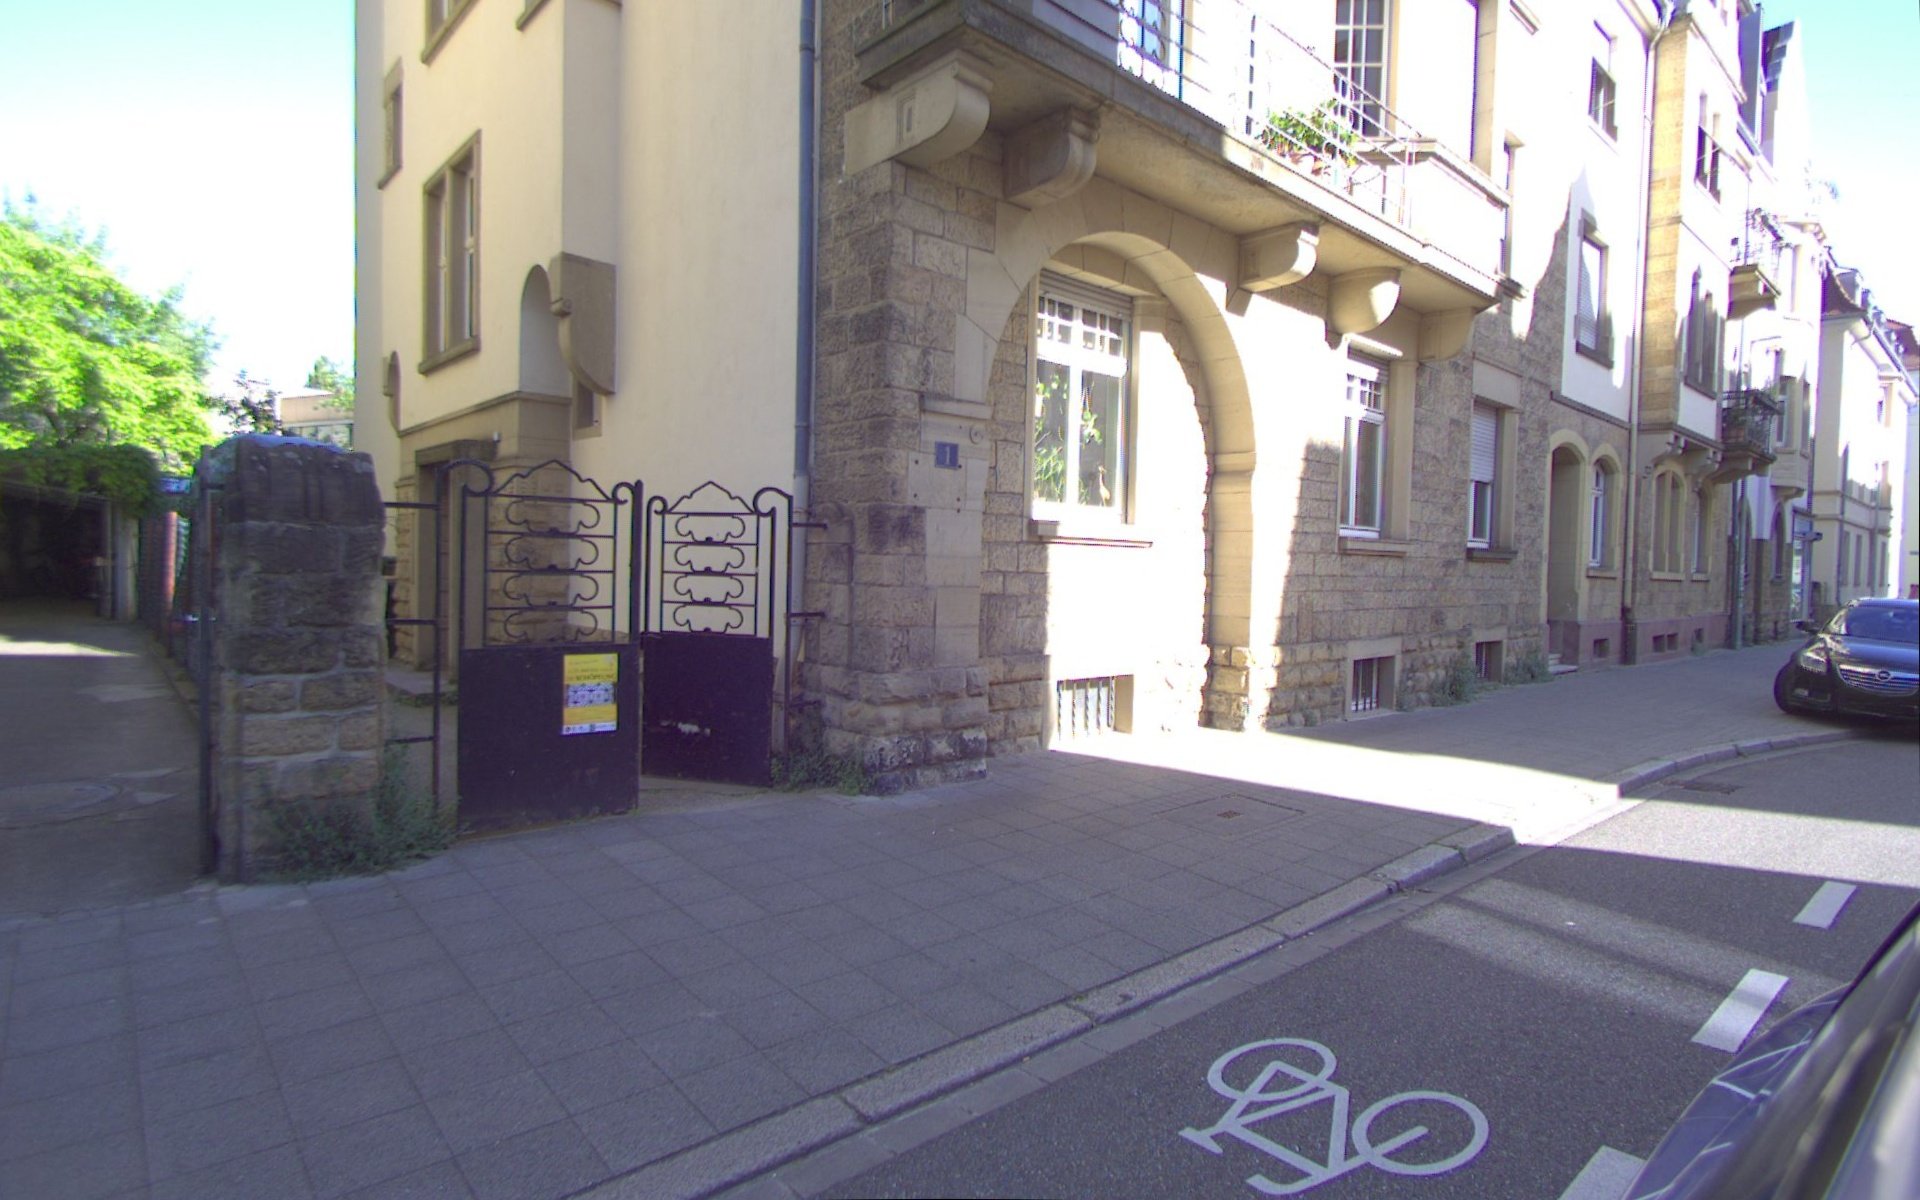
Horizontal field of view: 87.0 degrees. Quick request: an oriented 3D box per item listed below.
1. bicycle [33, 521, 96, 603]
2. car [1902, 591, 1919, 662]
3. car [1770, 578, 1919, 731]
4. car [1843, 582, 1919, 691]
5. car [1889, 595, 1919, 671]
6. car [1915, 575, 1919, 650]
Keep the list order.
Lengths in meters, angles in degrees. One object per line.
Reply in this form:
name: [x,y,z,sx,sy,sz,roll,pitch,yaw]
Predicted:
bicycle: [-18.304,-0.811,20.725,0.903,1.530,2.672,0,4,-41]
car: [22.169,0.582,22.194,4.247,1.440,1.823,-1,4,-42]
car: [11.484,0.570,12.170,4.043,1.526,2.023,-1,5,-42]
car: [15.529,0.566,15.868,4.247,1.527,2.004,0,3,-42]
car: [18.792,0.619,18.973,3.667,1.295,1.659,-1,4,-42]
car: [26.231,0.337,26.052,4.247,1.860,2.004,-1,4,-42]
